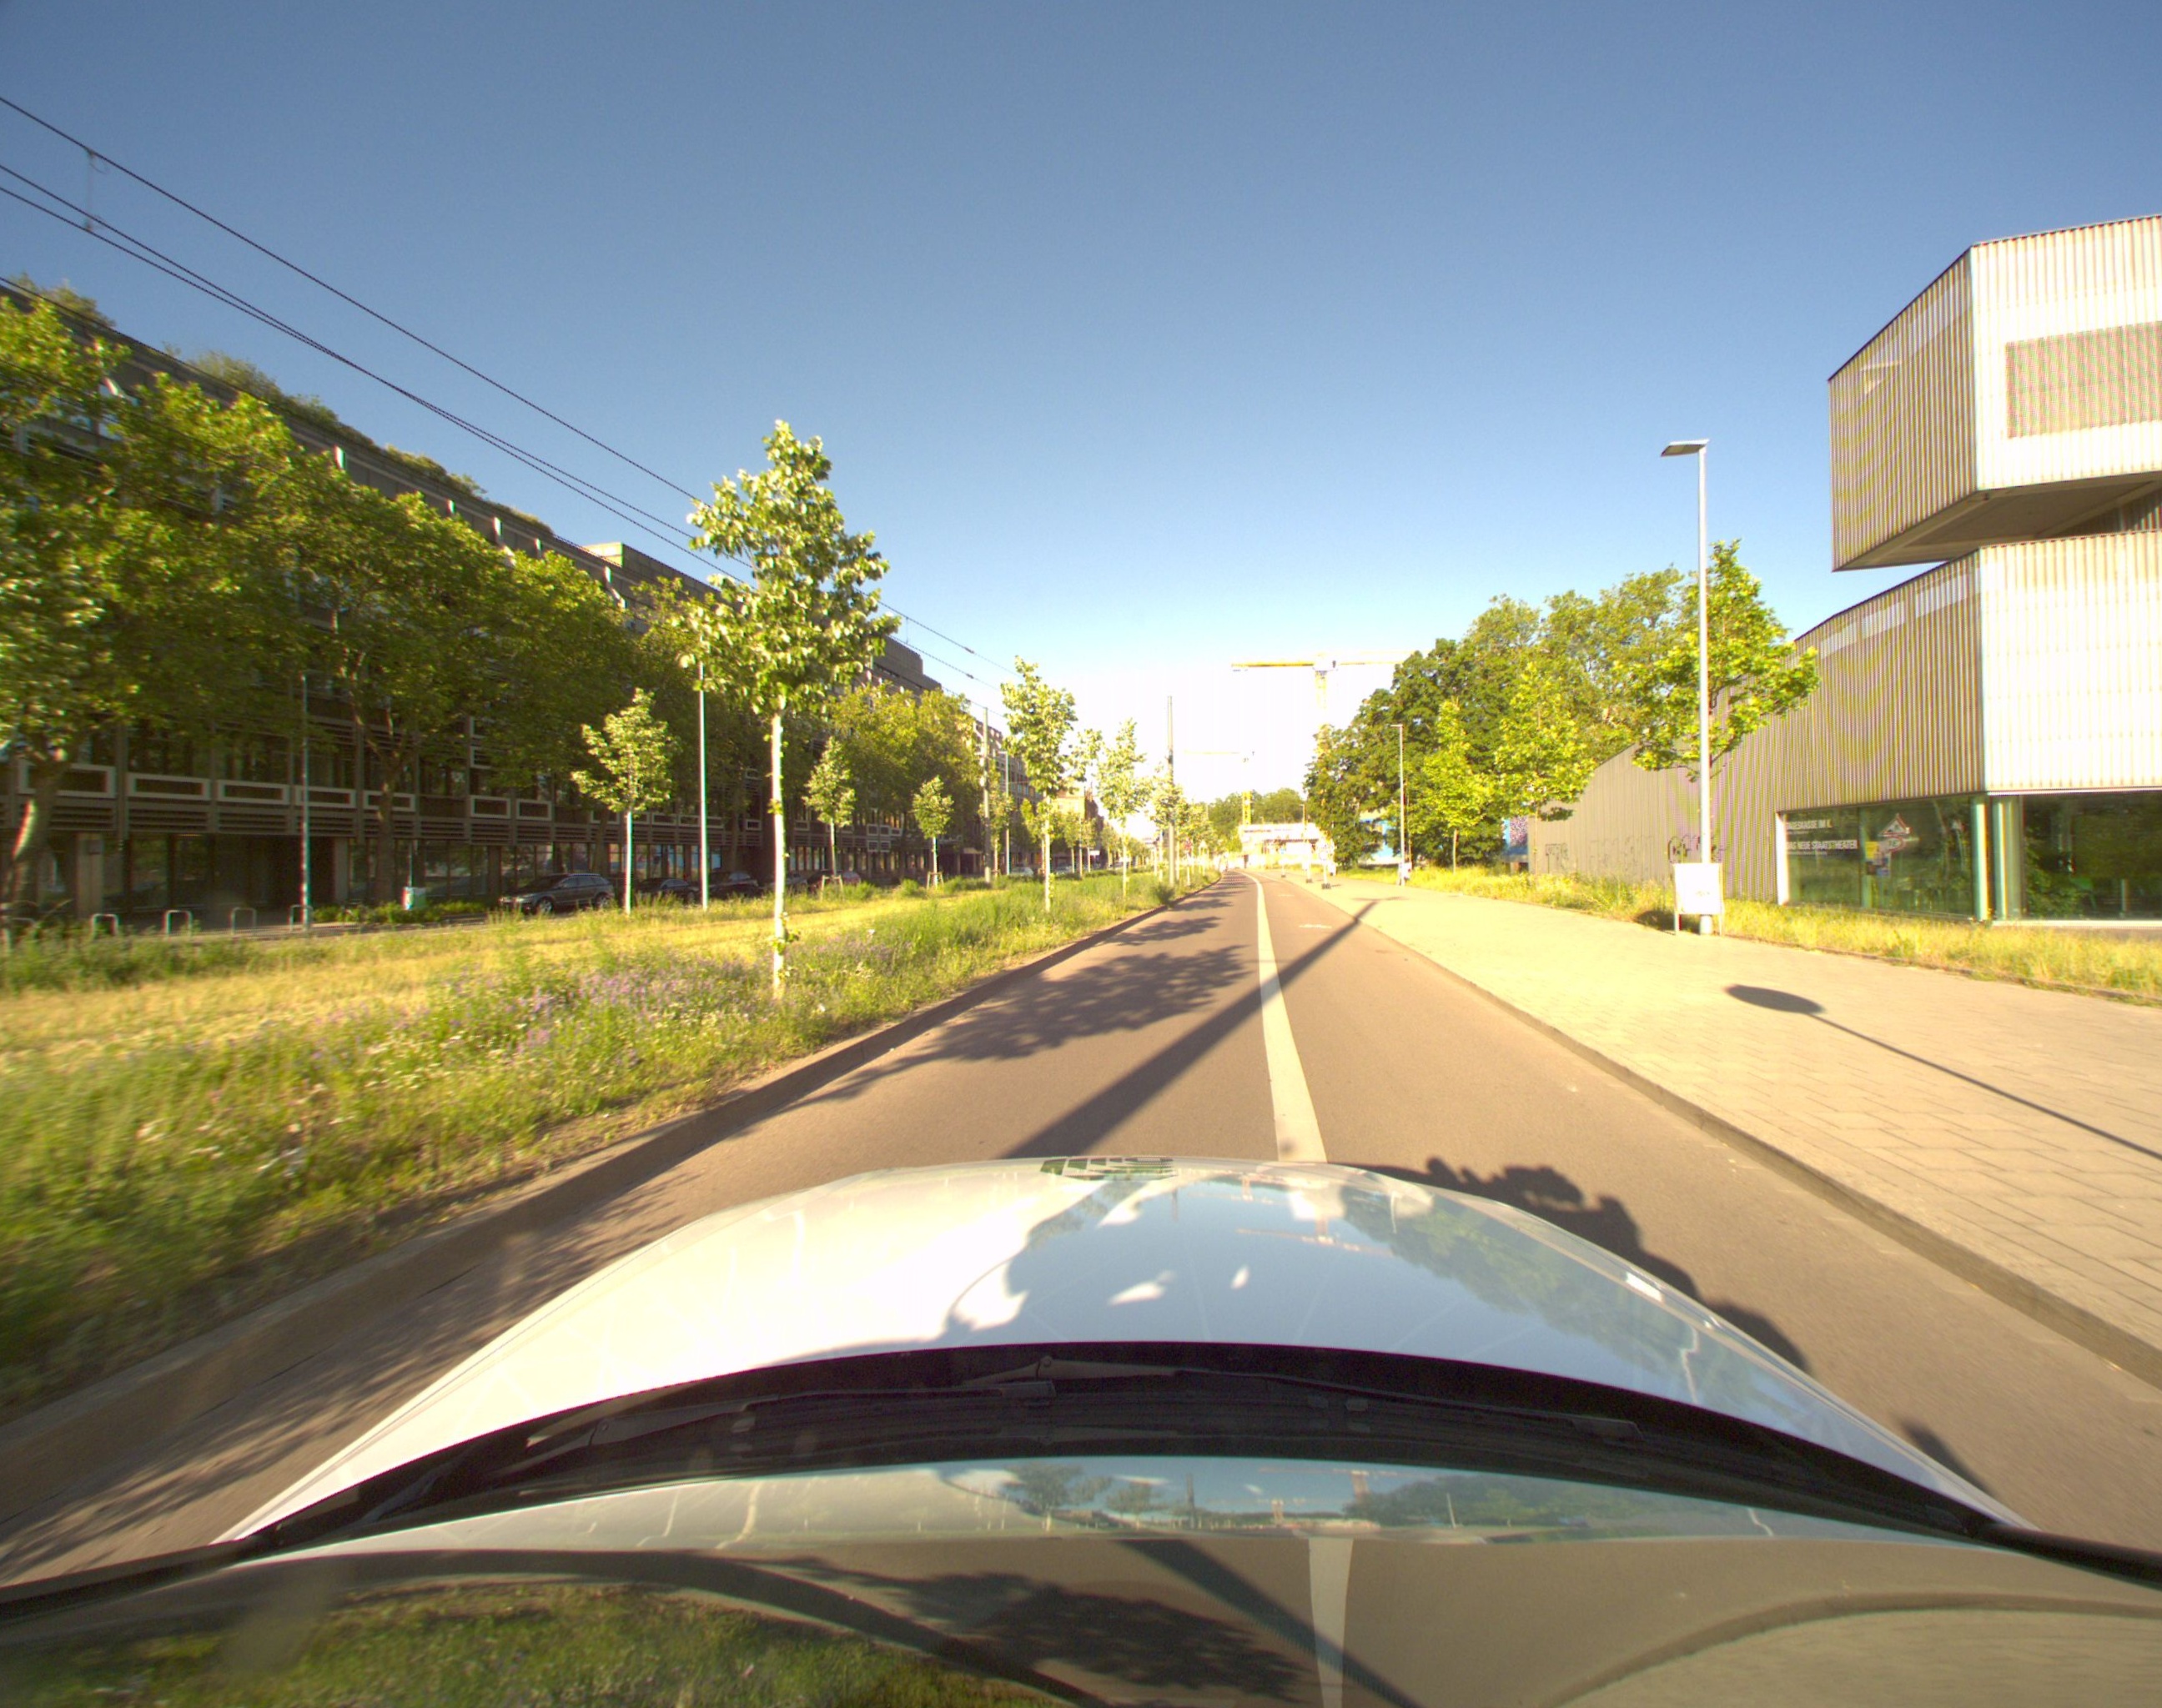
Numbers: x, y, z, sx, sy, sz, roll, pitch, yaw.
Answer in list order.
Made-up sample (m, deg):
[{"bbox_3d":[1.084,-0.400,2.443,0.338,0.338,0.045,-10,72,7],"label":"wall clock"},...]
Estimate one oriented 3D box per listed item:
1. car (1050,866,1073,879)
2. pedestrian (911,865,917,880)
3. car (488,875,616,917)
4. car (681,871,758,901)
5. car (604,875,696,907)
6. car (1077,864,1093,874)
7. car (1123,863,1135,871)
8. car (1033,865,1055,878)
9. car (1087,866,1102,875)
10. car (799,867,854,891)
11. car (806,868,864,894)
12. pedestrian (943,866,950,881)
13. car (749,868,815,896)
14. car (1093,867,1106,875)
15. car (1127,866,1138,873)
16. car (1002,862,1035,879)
[{"bbox_3d":[-2.364,2.240,100.097,1.746,1.516,4.598,-2,-1,13],"label":"car"},{"bbox_3d":[-17.325,1.913,84.357,0.406,1.562,0.448,-1,-1,13],"label":"pedestrian"},{"bbox_3d":[-23.656,1.826,36.711,1.981,1.680,4.882,0,-1,10],"label":"car"},{"bbox_3d":[-21.024,1.823,47.582,1.733,1.557,4.637,0,-1,11],"label":"car"},{"bbox_3d":[-22.206,1.866,42.153,1.978,1.521,4.016,0,-1,16],"label":"car"},{"bbox_3d":[0.718,2.534,136.924,1.891,1.575,4.313,-1,-1,10],"label":"car"},{"bbox_3d":[10.032,2.710,168.510,1.891,1.575,4.423,-1,-1,10],"label":"car"},{"bbox_3d":[-4.825,2.304,106.712,1.891,1.575,4.313,-1,-1,10],"label":"car"},{"bbox_3d":[2.503,3.018,150.389,1.891,1.575,4.313,-1,-1,10],"label":"car"},{"bbox_3d":[-18.460,1.800,59.213,1.848,1.596,4.292,-2,-1,13],"label":"car"},{"bbox_3d":[-15.414,1.678,51.257,1.697,1.453,3.592,-4,-1,17],"label":"car"},{"bbox_3d":[-14.255,2.072,86.447,0.662,1.532,0.649,-1,-1,-2],"label":"pedestrian"},{"bbox_3d":[-19.818,1.837,54.190,1.896,1.632,4.379,-3,-1,14],"label":"car"},{"bbox_3d":[3.596,3.297,158.078,1.891,1.575,4.313,-1,-1,10],"label":"car"},{"bbox_3d":[12.436,3.731,196.615,1.891,1.575,4.313,-1,-1,10],"label":"car"},{"bbox_3d":[-5.992,1.573,78.778,1.827,1.594,4.710,-2,-1,13],"label":"car"}]
